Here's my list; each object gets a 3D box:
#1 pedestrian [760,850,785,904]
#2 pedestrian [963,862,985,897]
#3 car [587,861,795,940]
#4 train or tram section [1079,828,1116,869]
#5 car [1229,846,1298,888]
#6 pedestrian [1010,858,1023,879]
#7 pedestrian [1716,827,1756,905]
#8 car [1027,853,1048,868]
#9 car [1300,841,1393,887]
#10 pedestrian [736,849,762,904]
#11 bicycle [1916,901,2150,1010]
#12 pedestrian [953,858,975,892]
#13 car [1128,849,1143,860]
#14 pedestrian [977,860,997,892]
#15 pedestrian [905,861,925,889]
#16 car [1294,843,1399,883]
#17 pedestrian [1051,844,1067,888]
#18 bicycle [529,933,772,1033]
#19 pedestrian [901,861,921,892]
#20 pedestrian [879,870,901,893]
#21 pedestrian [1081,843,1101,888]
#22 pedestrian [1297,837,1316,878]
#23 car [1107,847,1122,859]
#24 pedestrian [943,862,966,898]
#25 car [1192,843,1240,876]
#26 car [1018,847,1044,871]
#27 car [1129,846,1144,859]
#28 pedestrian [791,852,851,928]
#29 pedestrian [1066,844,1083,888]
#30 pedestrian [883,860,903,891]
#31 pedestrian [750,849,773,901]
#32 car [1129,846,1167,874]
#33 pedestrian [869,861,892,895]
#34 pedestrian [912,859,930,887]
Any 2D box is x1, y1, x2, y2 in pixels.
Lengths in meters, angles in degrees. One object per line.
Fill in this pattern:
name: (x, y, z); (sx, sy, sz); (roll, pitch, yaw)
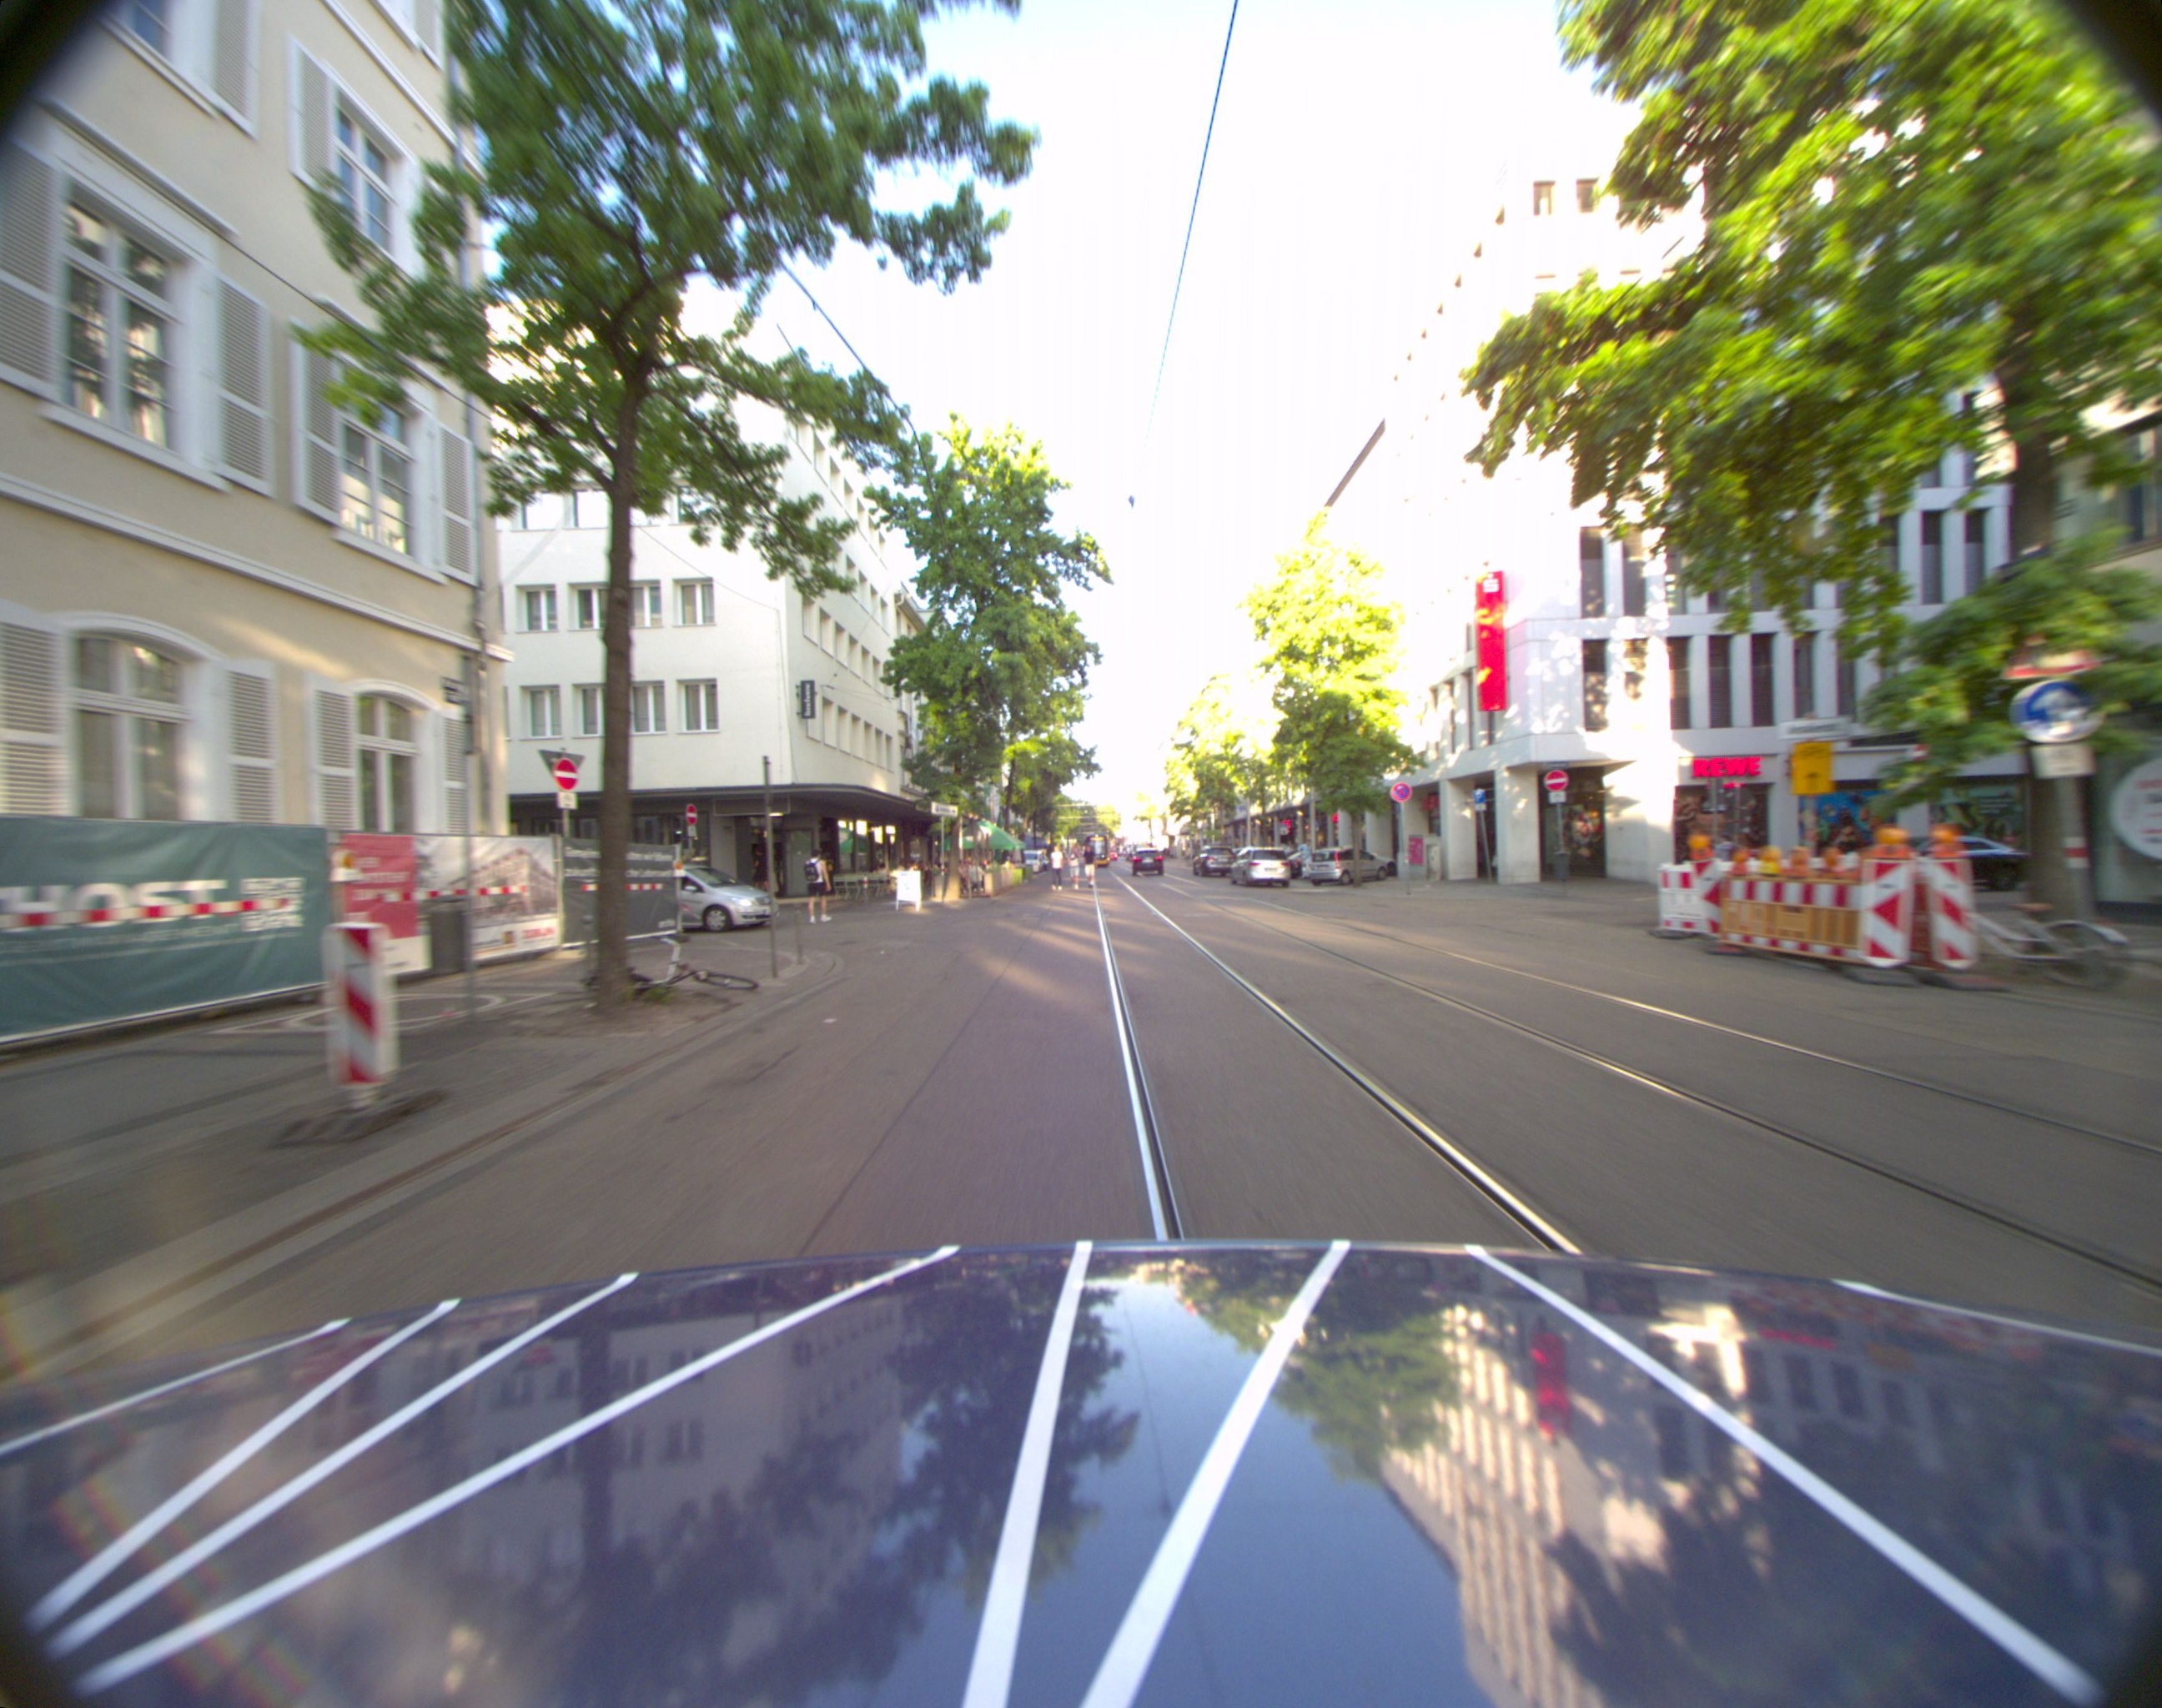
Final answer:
pedestrian: (-11.184, 0.821, 27.512); (0.725, 1.898, 0.569); (-2, 1, -28)
pedestrian: (-4.097, 0.972, 29.147); (0.716, 1.321, 0.624); (-2, 1, 2)
car: (-9.140, 1.061, 18.001); (3.937, 1.600, 1.867); (-2, 2, 8)
train or tram section: (1.718, -0.573, 83.777); (3.607, 3.974, 15.715); (-2, 0, 1)
car: (7.491, 0.494, 31.537); (1.889, 1.602, 4.200); (0, 0, 0)
pedestrian: (-4.138, 0.902, 48.850); (0.716, 1.321, 0.624); (-2, 1, 2)
pedestrian: (14.135, 0.251, 16.411); (0.610, 1.636, 0.728); (-1, 1, 40)
car: (-3.887, 0.552, 68.220); (1.715, 1.318, 3.593); (-2, 0, -2)
car: (10.947, 0.402, 31.275); (3.405, 1.551, 1.785); (-5, 2, -32)
pedestrian: (-11.851, 0.795, 27.131); (0.725, 1.898, 0.569); (-2, 1, -30)
bicycle: (9.419, 0.963, 7.613); (0.503, 0.832, 1.535); (-4, 1, 6)
pedestrian: (-4.656, 0.830, 30.302); (0.716, 1.321, 0.624); (-2, 1, 2)
car: (7.750, 0.070, 108.019); (1.715, 1.586, 3.999); (-2, 0, -2)
pedestrian: (-3.967, 0.925, 32.237); (0.716, 1.321, 0.624); (-2, 1, 2)
pedestrian: (-7.829, 0.982, 35.835); (0.716, 1.321, 0.624); (-2, 1, 2)
car: (11.919, 0.386, 34.143); (4.320, 1.404, 1.575); (-5, 2, -17)
pedestrian: (-0.971, 0.529, 33.529); (0.598, 1.922, 0.873); (-2, 1, 3)
bicycle: (-4.725, 1.374, 8.473); (1.753, 0.744, 1.566); (0, 1, 18)
pedestrian: (-7.523, 0.977, 33.671); (0.716, 1.321, 0.624); (-2, 1, 2)
pedestrian: (-8.053, 1.144, 31.995); (0.716, 0.927, 0.624); (-2, 1, 2)
pedestrian: (0.440, 0.490, 33.233); (0.772, 1.922, 0.873); (-2, 1, 2)
pedestrian: (10.692, 0.160, 36.044); (0.656, 1.922, 0.723); (-2, 1, 2)
car: (5.683, -0.157, 129.895); (2.218, 1.849, 3.999); (-2, 0, -1)
pedestrian: (-4.840, 0.994, 29.188); (0.716, 1.321, 0.624); (-2, 1, 2)
car: (7.796, 0.301, 44.124); (2.039, 1.796, 4.200); (-1, 0, 0)
car: (-4.041, 0.384, 61.944); (2.003, 1.831, 4.965); (0, 1, -2)
car: (8.714, -0.246, 119.326); (1.999, 1.871, 3.999); (-2, 0, -1)
pedestrian: (-6.488, 0.881, 19.002); (0.945, 1.805, 1.071); (-2, 3, 8)
pedestrian: (-0.280, 0.509, 33.775); (0.672, 1.922, 0.873); (-2, 1, 2)
pedestrian: (-8.338, 0.953, 33.720); (0.716, 1.321, 0.624); (-2, 1, 2)
pedestrian: (-11.104, 0.727, 26.370); (0.625, 1.756, 0.715); (-2, 1, -27)
car: (4.207, 0.369, 48.576); (2.039, 1.677, 4.200); (-2, 0, 0)
pedestrian: (-8.099, 0.950, 30.707); (0.716, 1.321, 0.624); (-2, 1, 2)
pedestrian: (-7.740, 0.920, 36.785); (0.716, 1.321, 0.624); (-2, 1, 2)
